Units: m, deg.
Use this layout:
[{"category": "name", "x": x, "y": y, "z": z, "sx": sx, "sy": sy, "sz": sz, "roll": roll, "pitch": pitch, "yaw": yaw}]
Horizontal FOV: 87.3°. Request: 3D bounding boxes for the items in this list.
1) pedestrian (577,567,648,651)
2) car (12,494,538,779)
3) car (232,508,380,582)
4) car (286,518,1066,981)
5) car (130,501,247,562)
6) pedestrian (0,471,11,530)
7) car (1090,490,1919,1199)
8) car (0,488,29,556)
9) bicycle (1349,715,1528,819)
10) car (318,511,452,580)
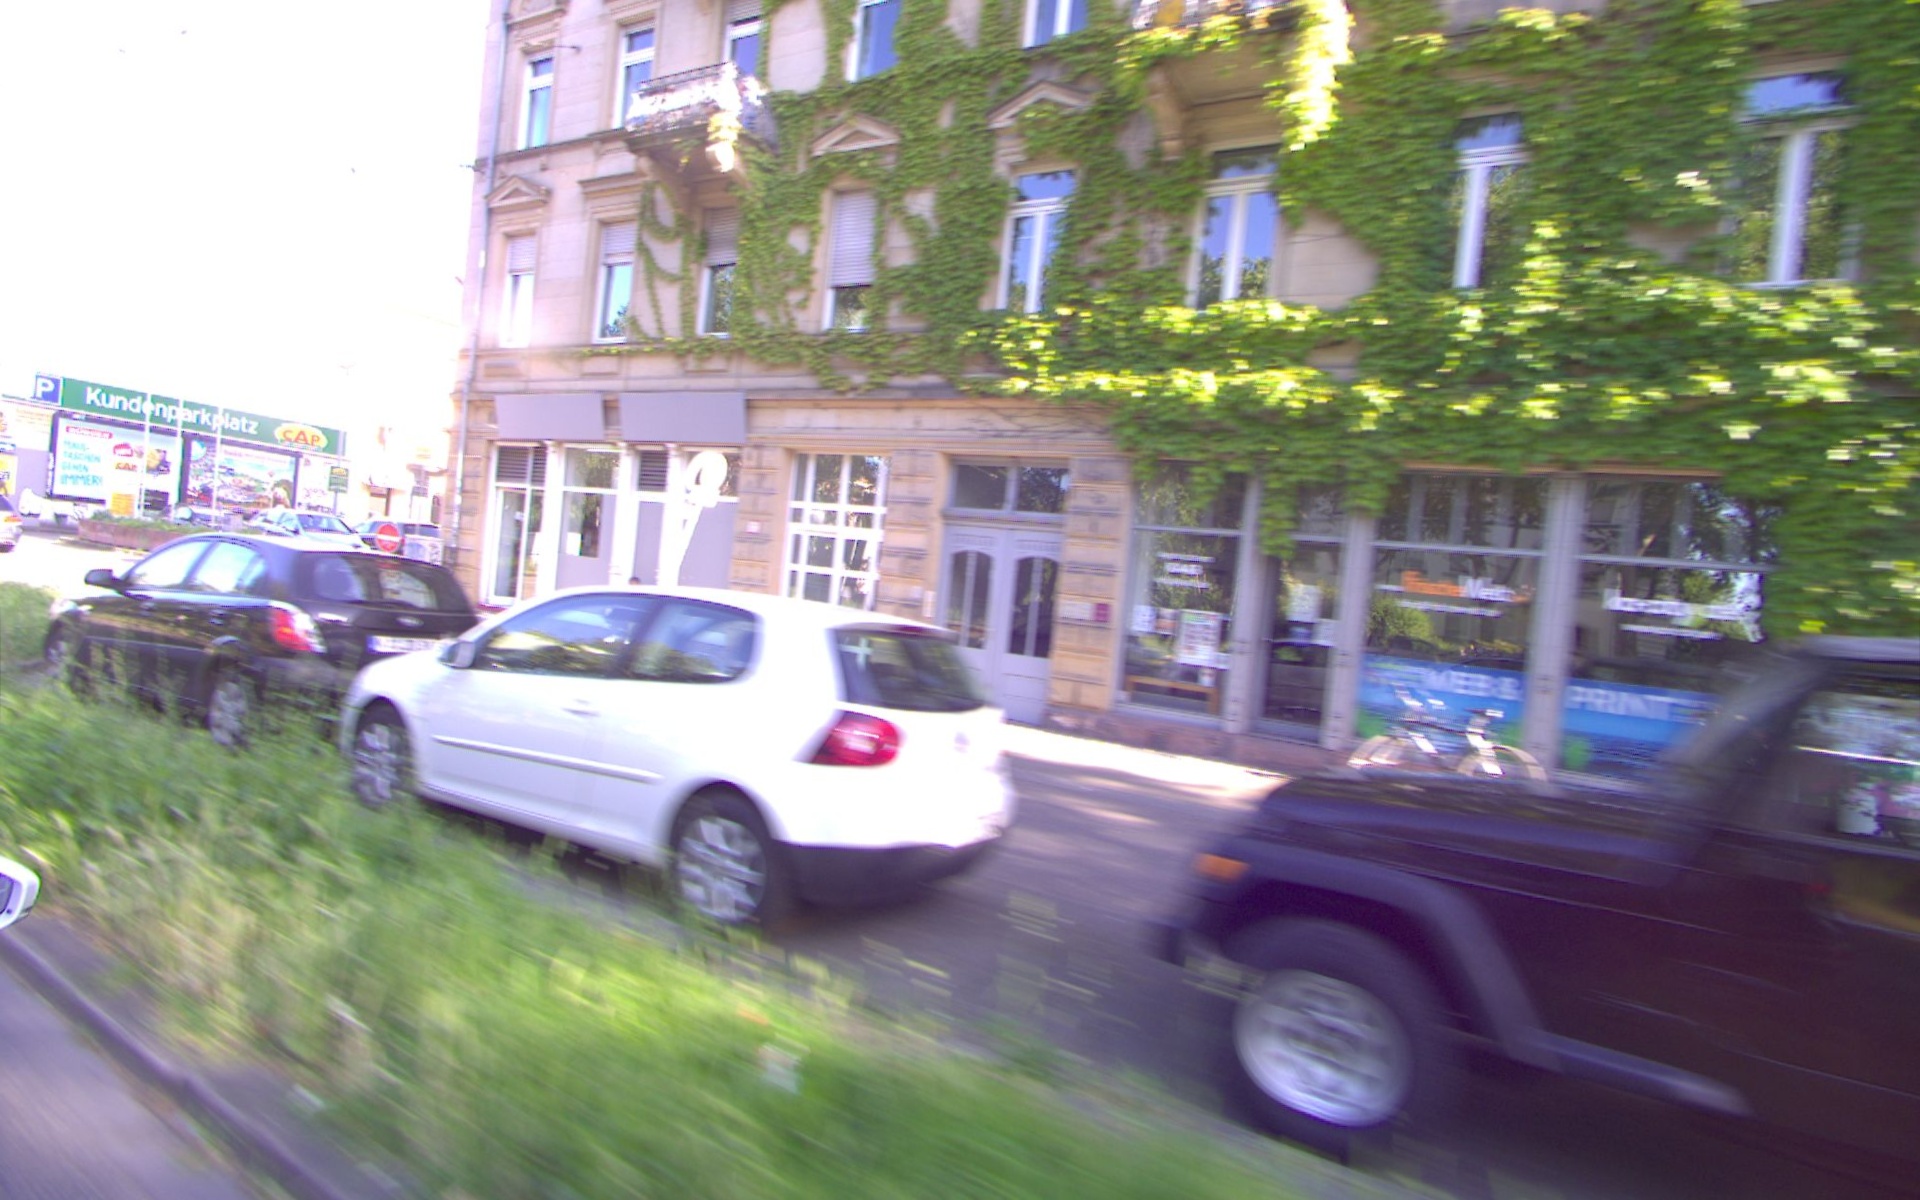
[{"category": "pedestrian", "x": -5.712, "y": 0.146, "z": 16.557, "sx": 0.701, "sy": 1.277, "sz": 0.716, "roll": 7, "pitch": 1, "yaw": 31}, {"category": "car", "x": -5.333, "y": 0.200, "z": 7.739, "sx": 3.932, "sy": 1.535, "sz": 1.645, "roll": 7, "pitch": -2, "yaw": 30}, {"category": "car", "x": -18.728, "y": -1.574, "z": 28.799, "sx": 3.930, "sy": 1.665, "sz": 1.748, "roll": 7, "pitch": 0, "yaw": 28}, {"category": "car", "x": -1.646, "y": 0.579, "z": 5.561, "sx": 3.932, "sy": 1.535, "sz": 1.743, "roll": 7, "pitch": -2, "yaw": 30}, {"category": "car", "x": -24.147, "y": -2.137, "z": 31.465, "sx": 3.336, "sy": 1.504, "sz": 1.561, "roll": 7, "pitch": 1, "yaw": 28}, {"category": "pedestrian", "x": -31.141, "y": -3.238, "z": 32.170, "sx": 0.734, "sy": 1.865, "sz": 0.762, "roll": 6, "pitch": 1, "yaw": 12}, {"category": "car", "x": 2.666, "y": 0.777, "z": 3.090, "sx": 3.934, "sy": 1.786, "sz": 1.866, "roll": 7, "pitch": 1, "yaw": 32}, {"category": "car", "x": -24.197, "y": -2.028, "z": 23.957, "sx": 4.656, "sy": 1.507, "sz": 1.832, "roll": 7, "pitch": 3, "yaw": 32}, {"category": "bicycle", "x": 4.698, "y": 1.615, "z": 9.912, "sx": 1.487, "sy": 0.715, "sz": 0.469, "roll": 7, "pitch": 1, "yaw": 31}, {"category": "car", "x": -17.986, "y": -1.712, "z": 31.439, "sx": 3.931, "sy": 1.714, "sz": 1.747, "roll": 7, "pitch": 0, "yaw": 29}]
